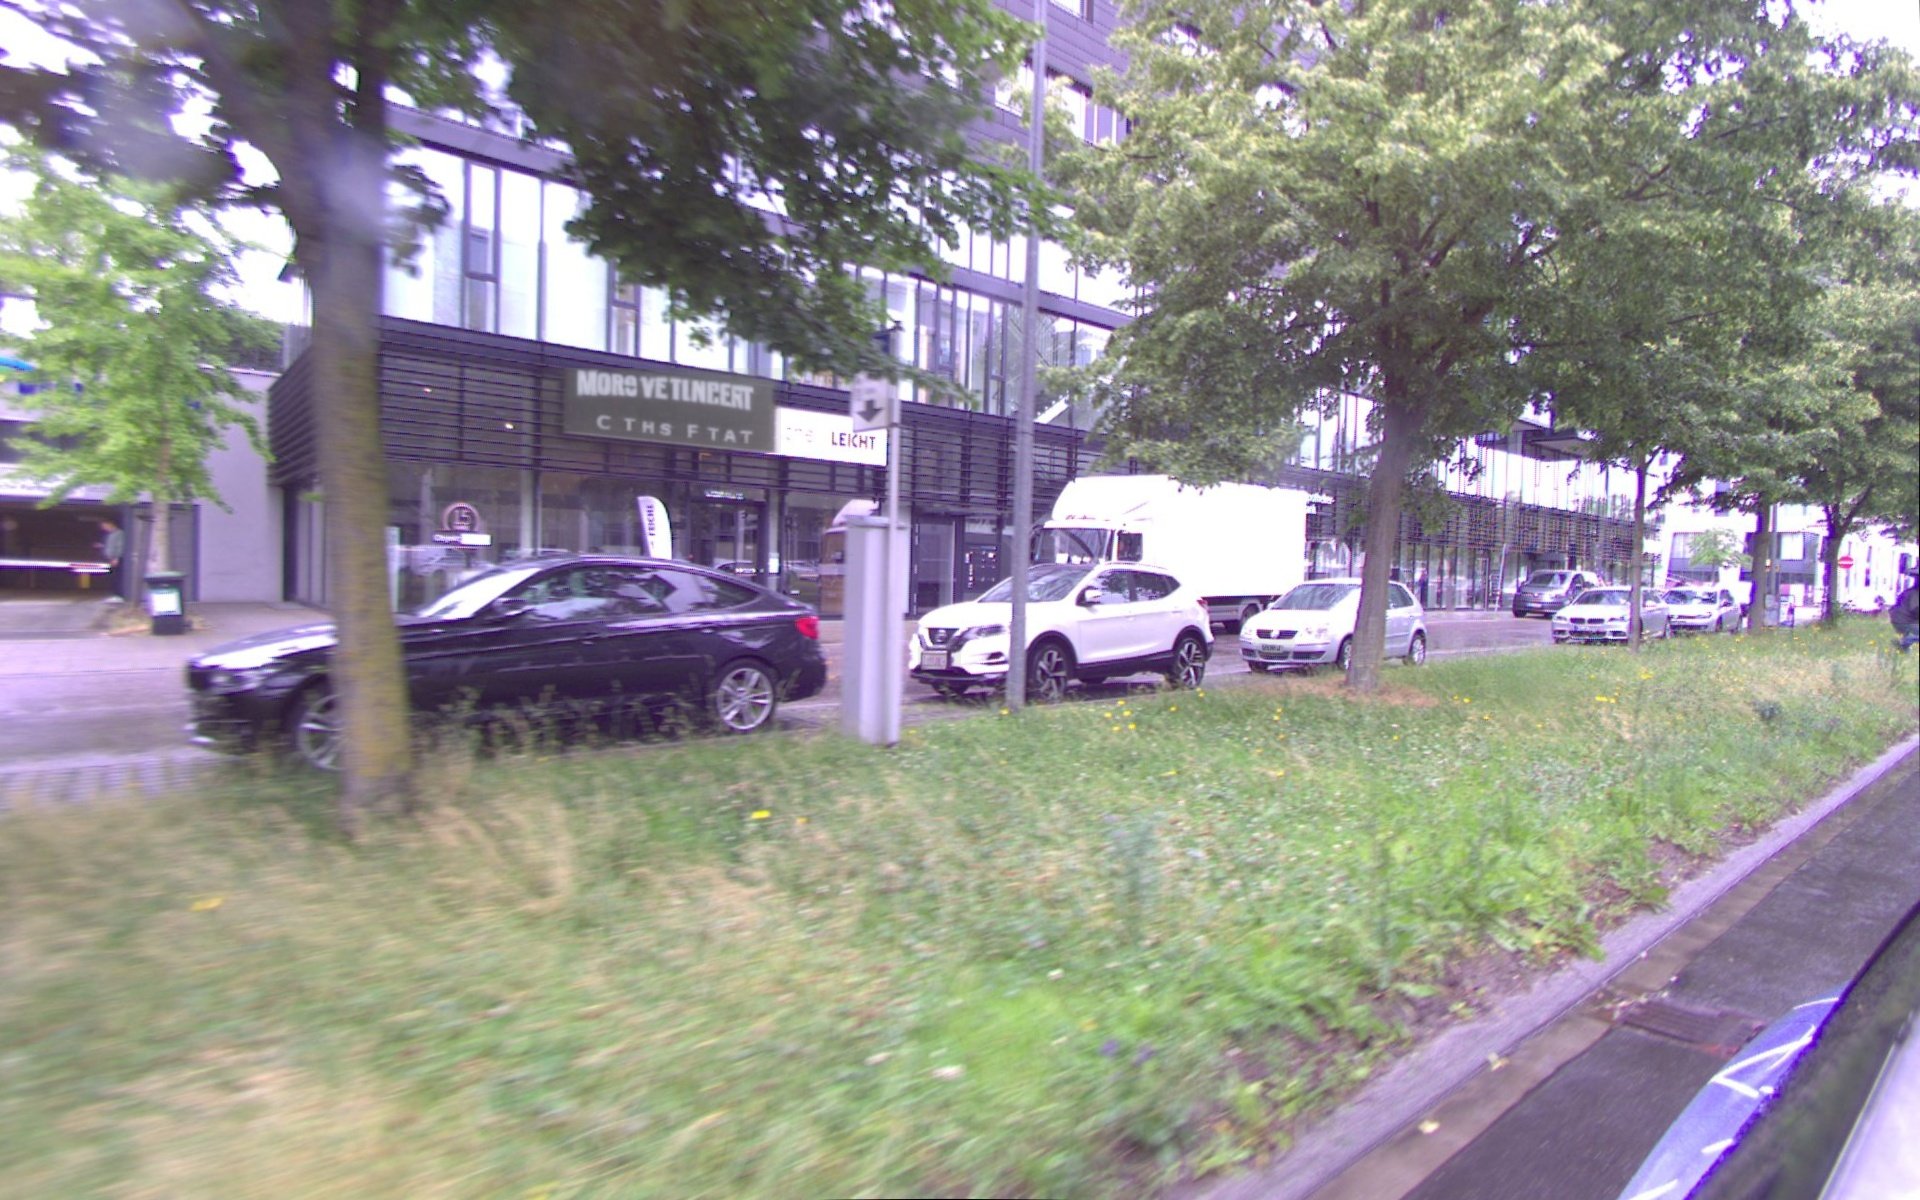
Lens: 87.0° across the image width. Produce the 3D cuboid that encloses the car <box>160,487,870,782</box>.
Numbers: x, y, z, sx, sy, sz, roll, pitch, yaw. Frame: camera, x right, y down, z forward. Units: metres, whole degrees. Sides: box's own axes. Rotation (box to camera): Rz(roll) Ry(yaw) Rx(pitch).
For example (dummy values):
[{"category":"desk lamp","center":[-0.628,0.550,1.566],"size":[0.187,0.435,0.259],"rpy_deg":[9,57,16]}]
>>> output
[{"category":"car","center":[-3.293,0.220,8.148],"size":[4.870,1.690,1.997],"rpy_deg":[1,0,-40]}]

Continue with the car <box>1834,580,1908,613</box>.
[{"category":"car","center":[44.409,-0.191,49.293],"size":[4.871,1.473,1.998],"rpy_deg":[0,2,-40]}]

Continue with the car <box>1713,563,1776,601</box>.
[{"category":"car","center":[41.840,-0.949,53.938],"size":[4.644,1.889,1.896],"rpy_deg":[0,2,-43]}]

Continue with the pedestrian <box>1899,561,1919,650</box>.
[{"category":"pedestrian","center":[16.521,0.091,17.268],"size":[0.688,1.512,0.643],"rpy_deg":[0,1,-42]}]

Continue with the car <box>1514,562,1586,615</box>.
[{"category":"car","center":[23.540,-0.474,40.267],"size":[1.988,1.944,5.083],"rpy_deg":[2,2,36]}]

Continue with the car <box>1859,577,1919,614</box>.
[{"category":"car","center":[49.010,-0.229,53.300],"size":[4.143,1.729,1.997],"rpy_deg":[2,0,-41]}]

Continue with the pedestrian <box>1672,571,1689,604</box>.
[{"category":"pedestrian","center":[38.930,-0.664,54.681],"size":[0.626,1.727,0.646],"rpy_deg":[2,0,44]}]

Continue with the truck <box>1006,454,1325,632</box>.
[{"category":"truck","center":[5.101,-1.190,23.775],"size":[8.405,3.483,3.028],"rpy_deg":[-1,2,-43]}]

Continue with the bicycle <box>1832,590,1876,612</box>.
[{"category":"bicycle","center":[38.801,0.042,43.952],"size":[0.424,0.928,1.464],"rpy_deg":[3,0,-8]}]

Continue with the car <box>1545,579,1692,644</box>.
[{"category":"car","center":[16.929,0.232,25.890],"size":[5.149,1.462,1.996],"rpy_deg":[-1,2,-43]}]

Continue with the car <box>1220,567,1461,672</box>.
[{"category":"car","center":[6.302,0.248,16.467],"size":[4.645,1.470,1.771],"rpy_deg":[-2,-1,-43]}]

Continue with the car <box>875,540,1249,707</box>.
[{"category":"car","center":[1.405,0.227,12.524],"size":[4.641,1.690,1.997],"rpy_deg":[0,0,-41]}]

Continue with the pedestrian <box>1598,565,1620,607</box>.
[{"category":"pedestrian","center":[27.952,-0.589,43.614],"size":[0.789,1.761,0.580],"rpy_deg":[3,-1,-43]}]

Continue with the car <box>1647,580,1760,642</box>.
[{"category":"car","center":[21.774,0.343,29.589],"size":[4.027,1.616,1.764],"rpy_deg":[2,0,-40]}]

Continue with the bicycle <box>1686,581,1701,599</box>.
[{"category":"bicycle","center":[39.368,-0.536,54.289],"size":[0.437,0.908,1.211],"rpy_deg":[2,0,45]}]
